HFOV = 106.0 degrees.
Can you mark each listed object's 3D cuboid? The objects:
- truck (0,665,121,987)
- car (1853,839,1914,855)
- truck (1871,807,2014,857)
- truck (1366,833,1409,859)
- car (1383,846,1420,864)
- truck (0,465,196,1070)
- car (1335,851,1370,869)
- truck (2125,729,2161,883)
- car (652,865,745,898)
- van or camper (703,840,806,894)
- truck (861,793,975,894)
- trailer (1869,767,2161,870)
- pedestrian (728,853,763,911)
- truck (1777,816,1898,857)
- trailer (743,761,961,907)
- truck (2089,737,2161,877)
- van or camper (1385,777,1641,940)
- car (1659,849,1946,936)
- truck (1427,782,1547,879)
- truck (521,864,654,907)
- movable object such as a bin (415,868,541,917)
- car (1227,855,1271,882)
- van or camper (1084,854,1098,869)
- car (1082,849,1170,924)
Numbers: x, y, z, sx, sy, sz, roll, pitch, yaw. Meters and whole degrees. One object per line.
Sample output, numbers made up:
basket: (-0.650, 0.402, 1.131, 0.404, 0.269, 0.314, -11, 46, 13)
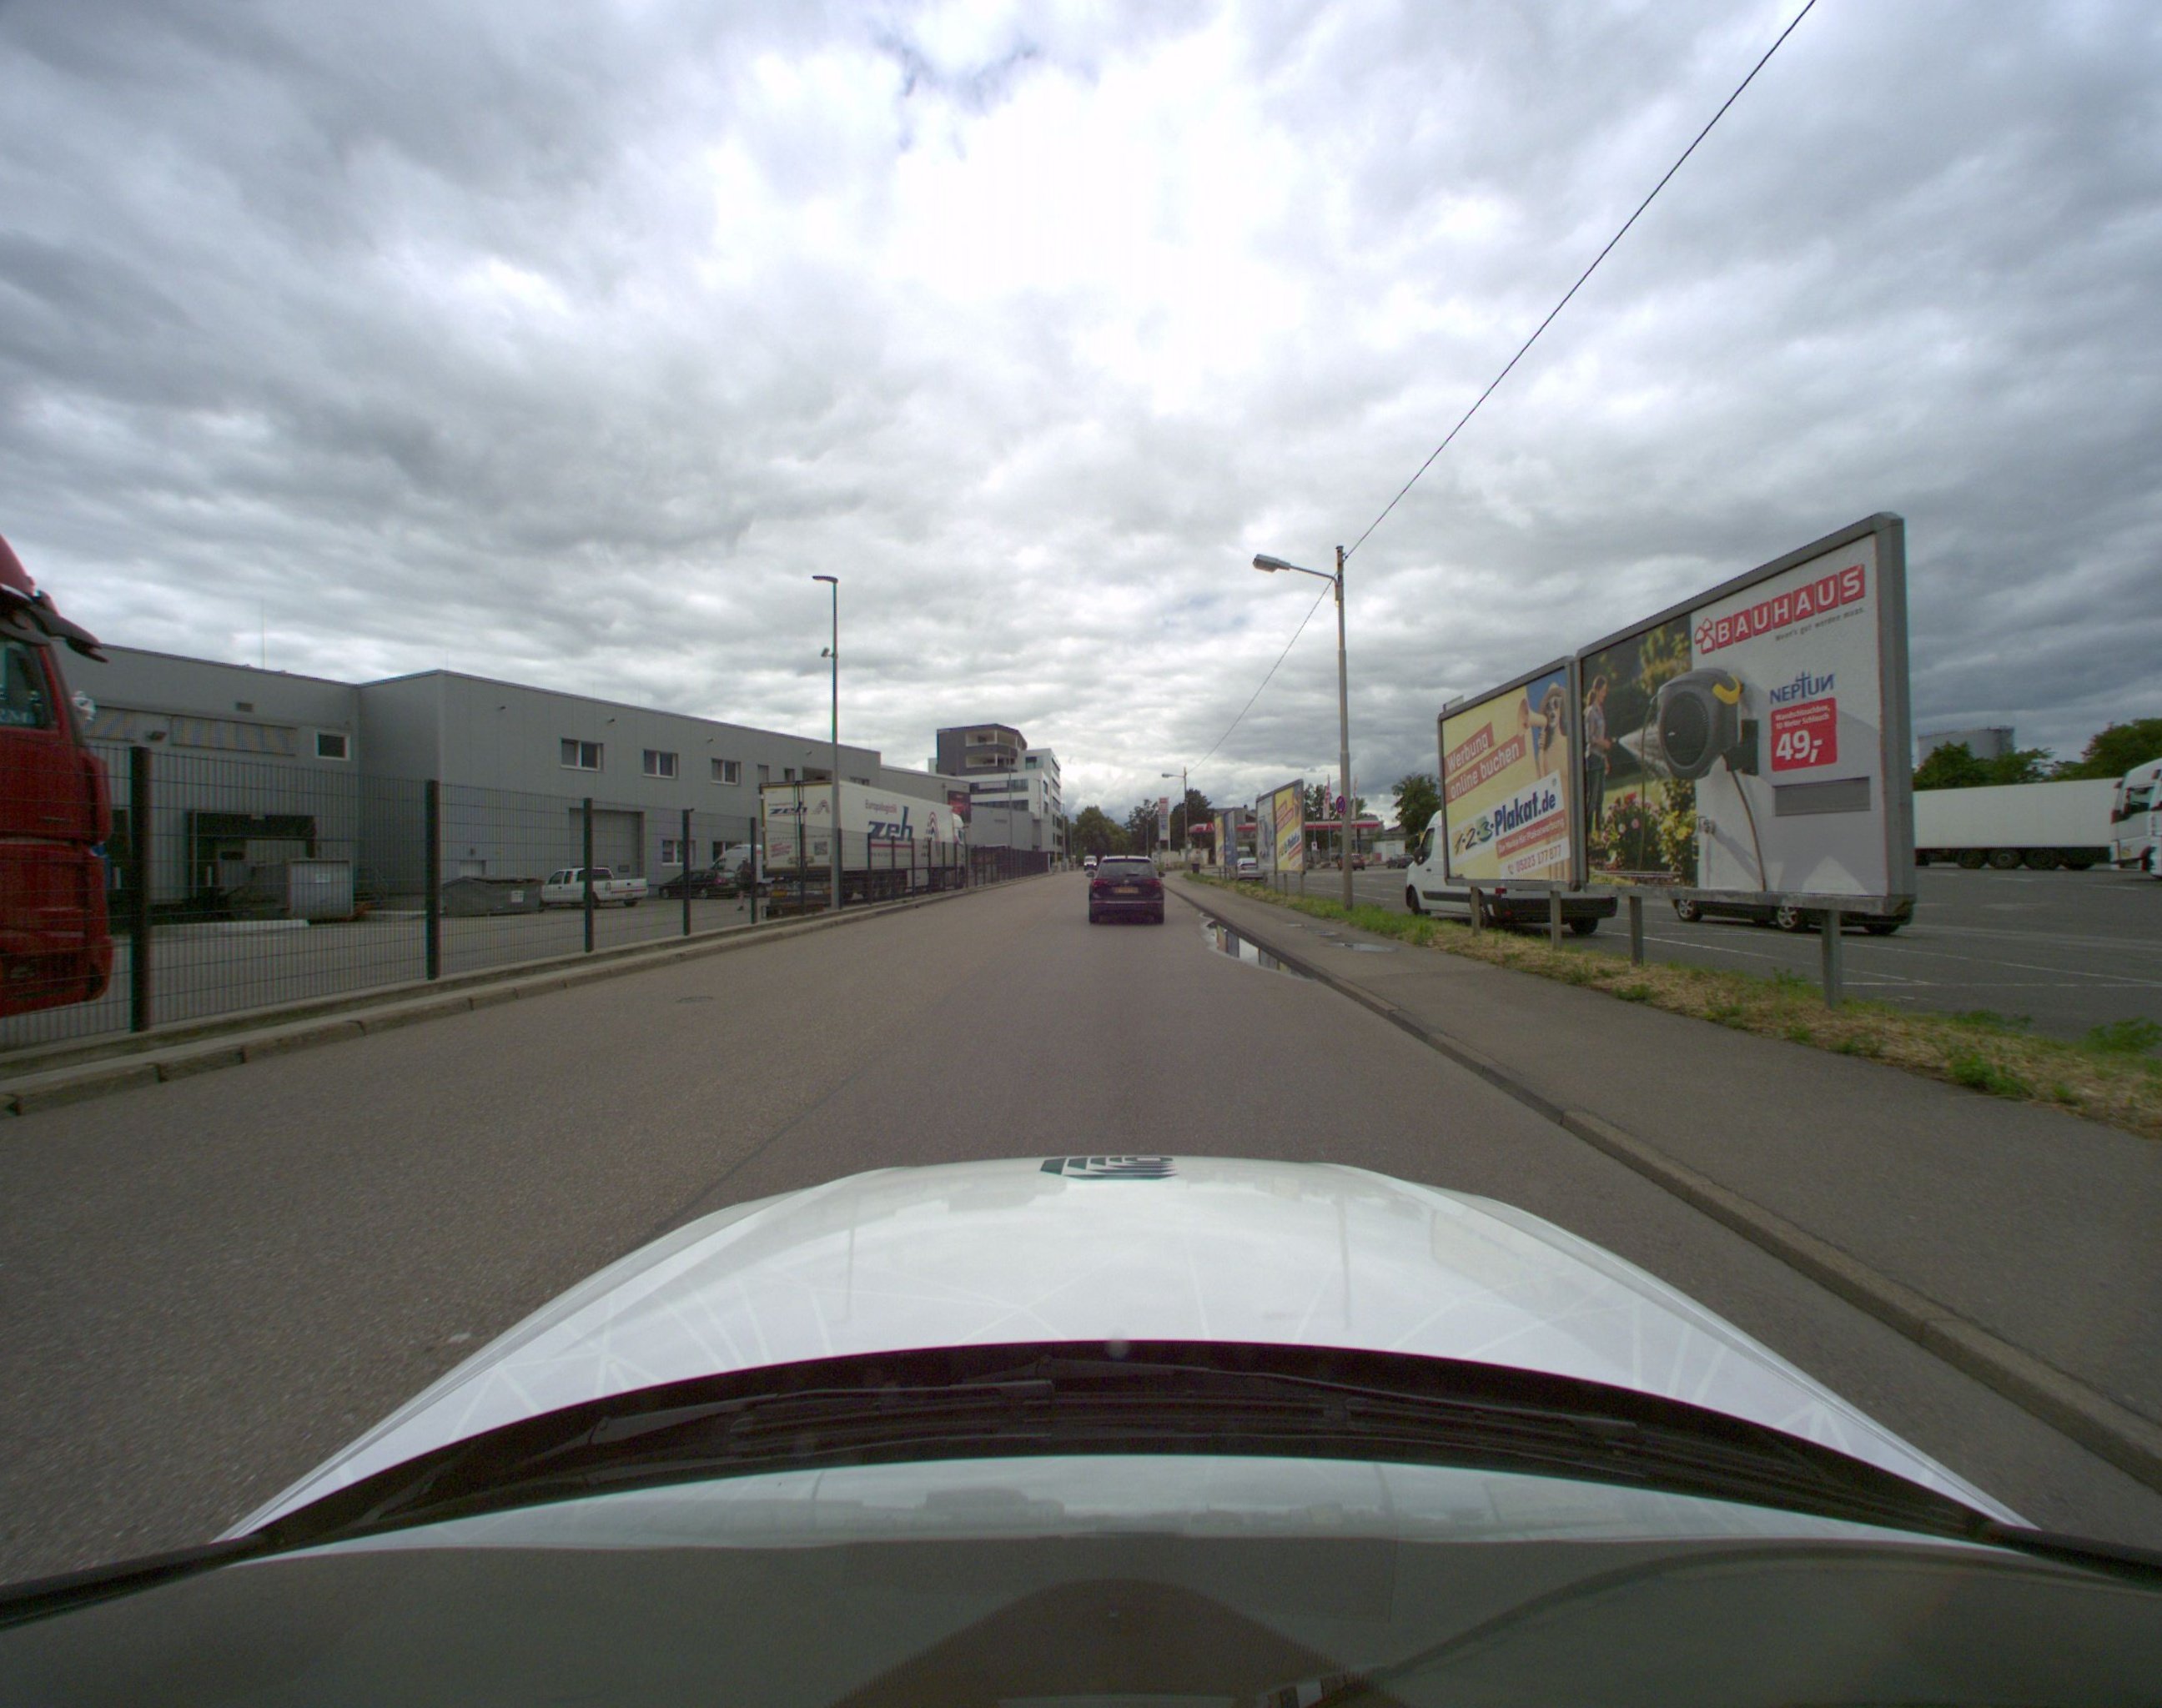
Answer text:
truck: (-16.215, -0.305, 9.636, 5.601, 4.020, 2.919, -1, -1, -12)
car: (82.239, -0.699, 83.486, 4.044, 1.578, 1.906, -1, 0, 22)
truck: (80.834, -1.980, 76.689, 8.761, 4.378, 3.063, -1, 1, 24)
truck: (39.234, -1.061, 104.517, 3.161, 3.145, 7.516, -1, 1, 4)
car: (30.666, 0.094, 78.038, 1.987, 1.706, 4.188, -1, 0, 1)
truck: (-8.779, -0.568, 3.120, 2.909, 4.020, 6.948, -1, 0, 4)
car: (26.108, 0.576, 78.456, 1.987, 1.706, 4.000, -1, 0, 1)
truck: (31.375, -1.340, 21.370, 2.782, 4.215, 4.137, -1, 1, -14)
car: (-19.275, 1.386, 41.049, 3.952, 1.552, 2.011, -1, 0, 22)
van or camper: (-17.367, 0.699, 43.322, 4.929, 2.762, 2.115, -1, -1, 21)
truck: (-7.517, -0.447, 38.752, 3.113, 4.117, 6.952, -5, -1, 5)
trailer: (45.033, -1.519, 36.754, 3.102, 4.207, 14.359, -1, 1, -12)
pedestrian: (-10.818, 0.893, 26.301, 0.694, 1.829, 0.826, -1, 0, 7)
truck: (85.812, -1.896, 92.647, 9.533, 4.390, 3.412, -1, 1, 31)
trailer: (-8.157, -0.591, 32.229, 3.118, 4.261, 14.039, -5, -1, 5)
truck: (34.210, -1.434, 23.859, 2.785, 4.215, 5.209, -1, 1, -17)
van or camper: (8.307, 0.096, 16.570, 2.246, 2.647, 6.120, -1, 0, 4)
car: (13.757, 0.667, 15.968, 1.881, 1.445, 4.432, 1, 0, 3)
truck: (23.470, -1.265, 47.711, 3.292, 5.093, 8.524, -1, 0, 5)
truck: (-20.623, 1.309, 34.061, 4.870, 1.652, 2.239, -1, 0, 22)
movable object such as a bin: (-23.163, 1.455, 31.307, 3.951, 1.736, 2.169, -1, 0, 24)
car: (9.768, 0.825, 47.575, 1.881, 1.445, 4.432, 1, 0, 3)
van or camper: (1.633, 1.187, 129.326, 1.985, 2.256, 4.003, -1, 0, 3)
car: (1.136, 0.769, 20.792, 1.985, 1.684, 4.374, -1, -1, 3)
